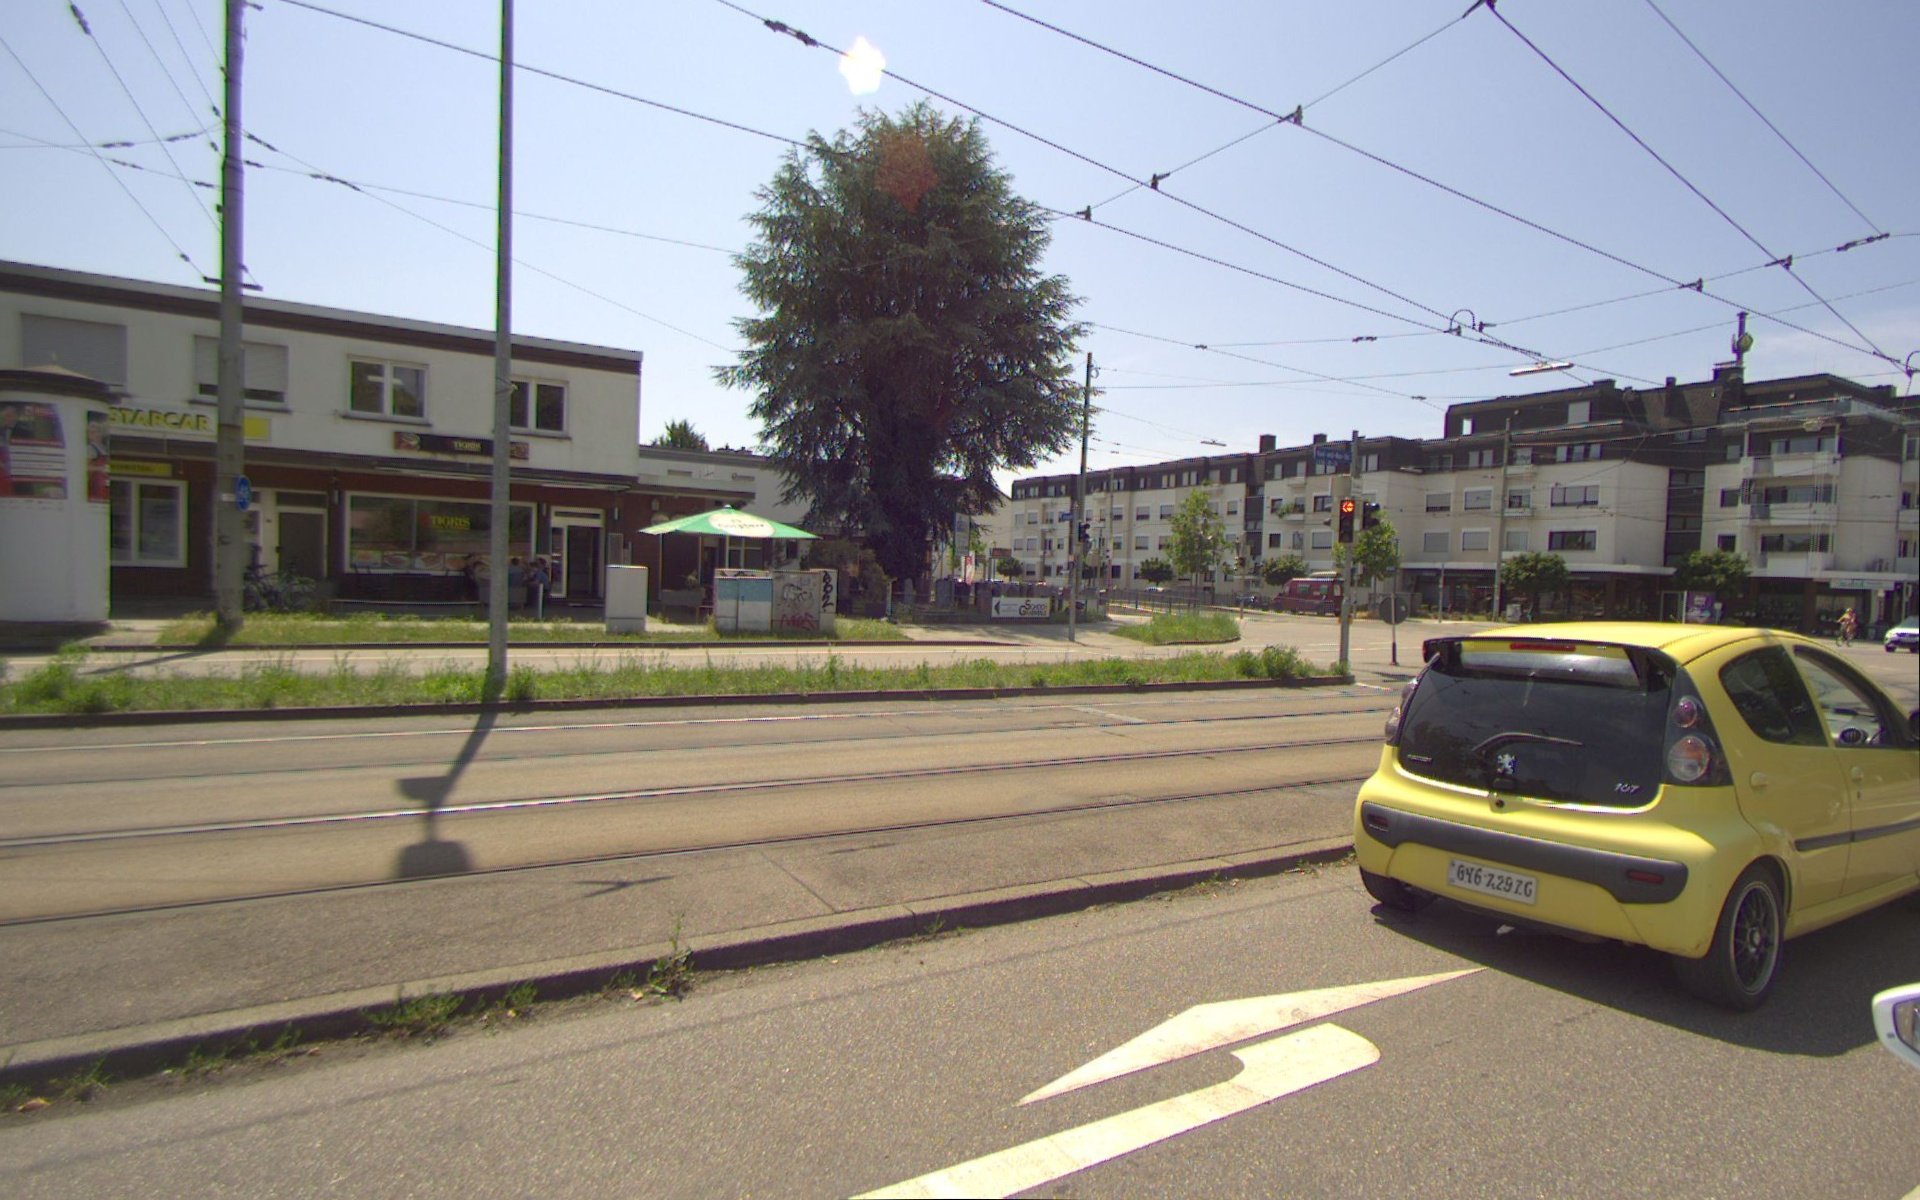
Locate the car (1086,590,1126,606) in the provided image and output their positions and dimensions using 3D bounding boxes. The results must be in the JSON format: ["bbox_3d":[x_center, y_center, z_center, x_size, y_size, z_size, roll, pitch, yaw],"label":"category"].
[{"bbox_3d":[12.716,-0.168,87.478,1.571,1.257,3.553,1,1,-29],"label":"car"}]

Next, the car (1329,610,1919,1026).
[{"bbox_3d":[3.750,0.815,5.133,3.614,1.440,1.607,2,-1,-31],"label":"car"}]

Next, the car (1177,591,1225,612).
[{"bbox_3d":[18.481,0.117,77.167,1.571,1.452,3.553,1,1,-29],"label":"car"}]

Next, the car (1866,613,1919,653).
[{"bbox_3d":[40.153,1.389,42.146,4.091,1.573,1.984,1,1,-30],"label":"car"}]

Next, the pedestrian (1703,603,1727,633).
[{"bbox_3d":[45.537,1.092,60.583,0.792,1.719,0.701,2,1,-6],"label":"pedestrian"}]

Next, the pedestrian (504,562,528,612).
[{"bbox_3d":[-11.363,-0.333,25.713,0.486,1.255,0.572,1,2,-31],"label":"pedestrian"}]

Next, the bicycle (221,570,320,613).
[{"bbox_3d":[-15.209,-0.180,22.205,1.767,0.859,0.525,2,4,-31],"label":"bicycle"}]

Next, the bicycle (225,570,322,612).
[{"bbox_3d":[-15.489,-0.190,22.700,1.767,0.859,0.525,2,4,-31],"label":"bicycle"}]

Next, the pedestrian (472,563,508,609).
[{"bbox_3d":[-12.178,-0.358,26.020,0.801,1.142,0.561,1,2,-30],"label":"pedestrian"}]

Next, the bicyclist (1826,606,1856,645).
[{"bbox_3d":[41.898,1.215,47.761,1.124,1.789,0.691,0,2,-31],"label":"bicyclist"}]

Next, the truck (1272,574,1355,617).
[{"bbox_3d":[23.859,-0.359,67.983,2.161,2.734,5.002,1,1,-29],"label":"truck"}]

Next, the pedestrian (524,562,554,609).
[{"bbox_3d":[-11.158,-0.397,26.613,0.666,1.215,0.514,1,2,-30],"label":"pedestrian"}]

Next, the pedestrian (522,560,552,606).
[{"bbox_3d":[-11.461,-0.457,27.196,0.666,1.225,0.514,1,2,-30],"label":"pedestrian"}]

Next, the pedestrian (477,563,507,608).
[{"bbox_3d":[-12.449,-0.390,26.719,0.666,1.179,0.514,1,2,-30],"label":"pedestrian"}]

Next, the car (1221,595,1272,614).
[{"bbox_3d":[20.886,0.333,73.345,1.571,1.235,3.553,1,1,-29],"label":"car"}]

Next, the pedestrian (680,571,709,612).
[{"bbox_3d":[-7.528,-0.240,28.496,0.666,1.142,0.514,1,2,-30],"label":"pedestrian"}]

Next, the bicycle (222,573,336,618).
[{"bbox_3d":[-14.379,-0.094,21.267,1.936,0.859,0.599,2,4,-31],"label":"bicycle"}]

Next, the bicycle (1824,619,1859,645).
[{"bbox_3d":[41.956,1.529,47.814,1.909,1.164,0.691,0,2,-32],"label":"bicycle"}]
